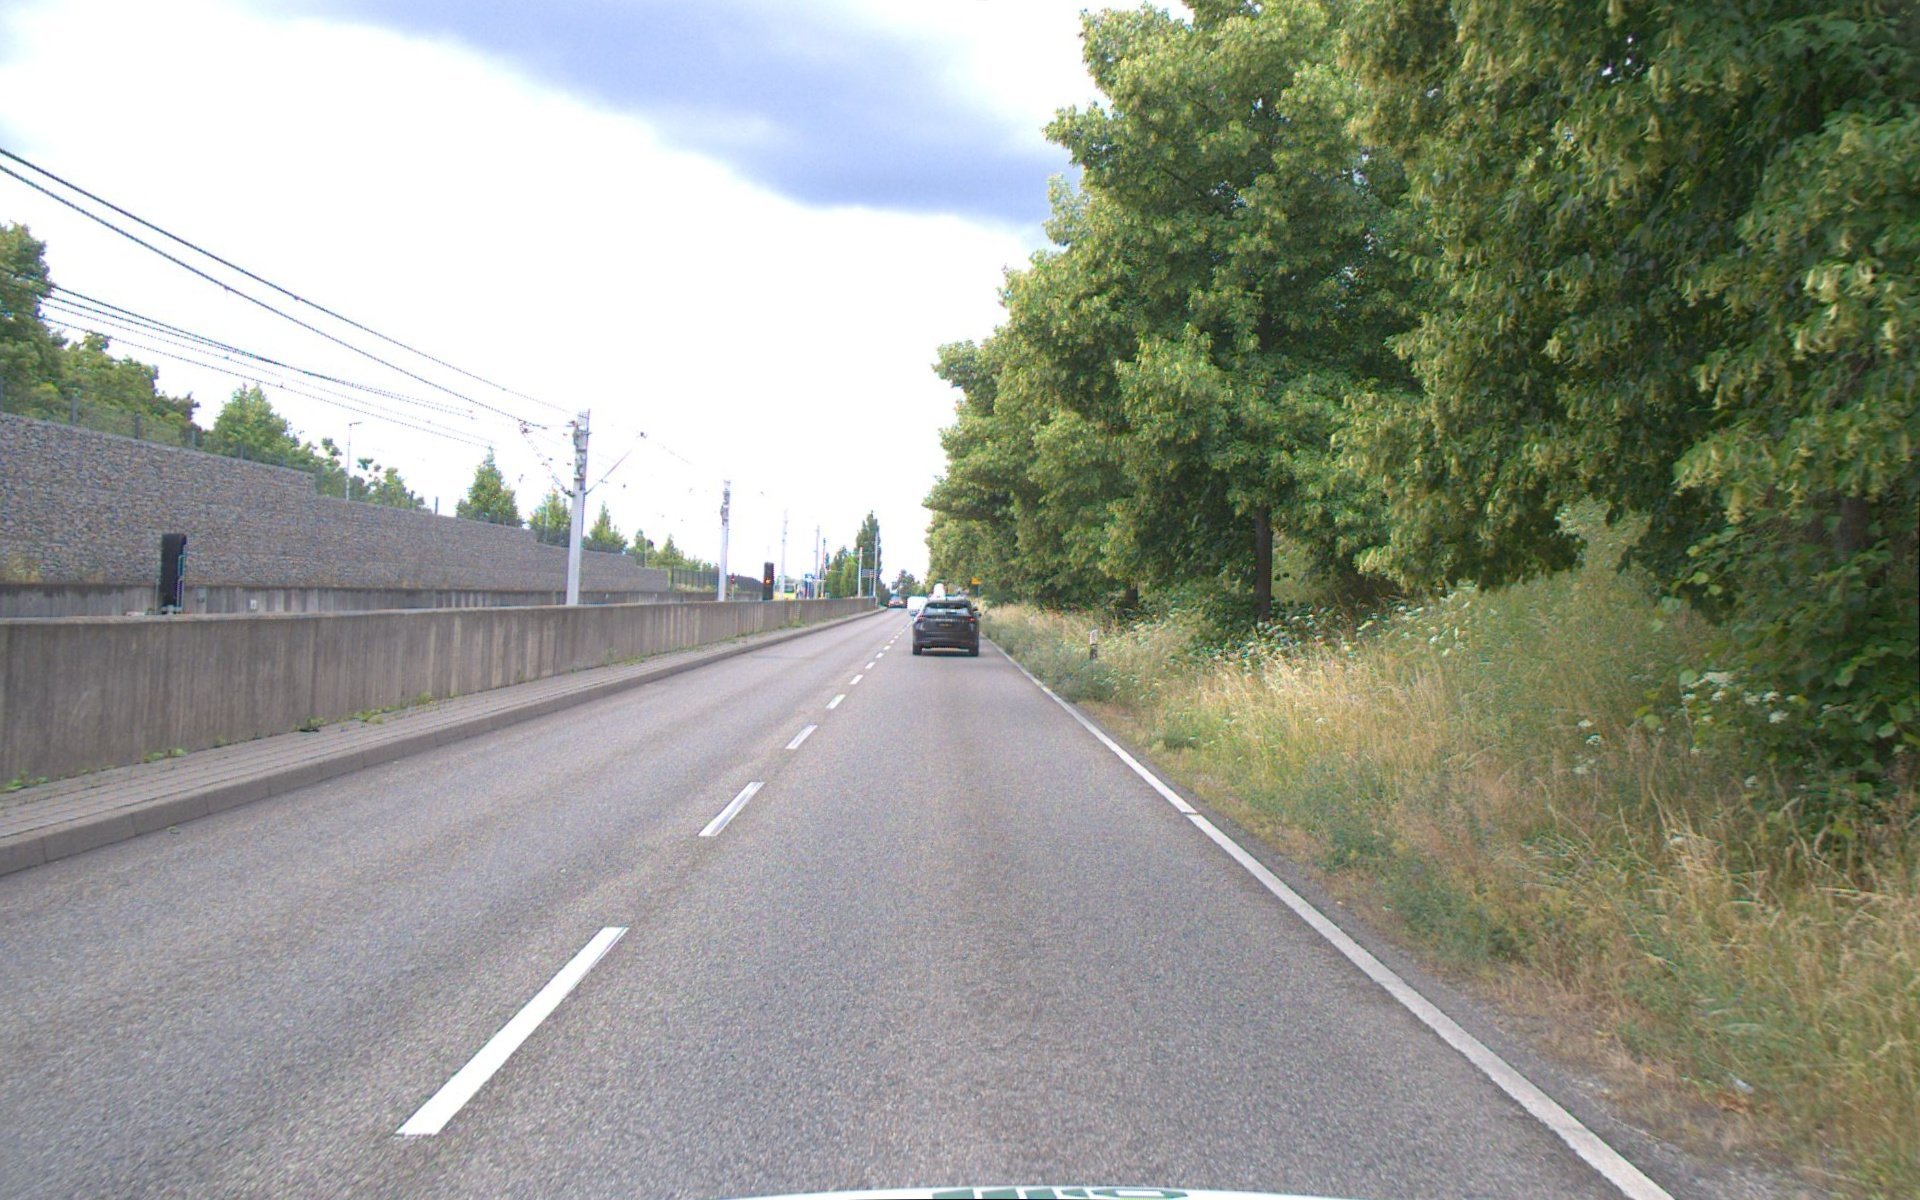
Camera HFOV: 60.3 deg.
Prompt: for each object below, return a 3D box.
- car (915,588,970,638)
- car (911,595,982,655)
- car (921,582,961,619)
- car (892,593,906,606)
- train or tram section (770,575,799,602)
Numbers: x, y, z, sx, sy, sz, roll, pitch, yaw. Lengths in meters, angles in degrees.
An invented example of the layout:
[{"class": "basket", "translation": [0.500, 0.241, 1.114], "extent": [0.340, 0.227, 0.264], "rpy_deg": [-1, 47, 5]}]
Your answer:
[{"class": "car", "translation": [-0.645, 0.459, 61.515], "extent": [1.953, 1.783, 3.999], "rpy_deg": [1, 0, -1]}, {"class": "car", "translation": [-0.365, 0.622, 43.603], "extent": [1.745, 1.493, 3.999], "rpy_deg": [1, 0, -1]}, {"class": "car", "translation": [-0.955, 0.049, 82.880], "extent": [1.953, 1.771, 3.999], "rpy_deg": [1, -1, -1]}, {"class": "car", "translation": [-7.655, -0.016, 207.882], "extent": [1.629, 1.572, 3.951], "rpy_deg": [1, 0, -1]}, {"class": "train or tram section", "translation": [-23.012, -1.389, 216.255], "extent": [2.760, 3.172, 18.873], "rpy_deg": [1, -1, -9]}]
